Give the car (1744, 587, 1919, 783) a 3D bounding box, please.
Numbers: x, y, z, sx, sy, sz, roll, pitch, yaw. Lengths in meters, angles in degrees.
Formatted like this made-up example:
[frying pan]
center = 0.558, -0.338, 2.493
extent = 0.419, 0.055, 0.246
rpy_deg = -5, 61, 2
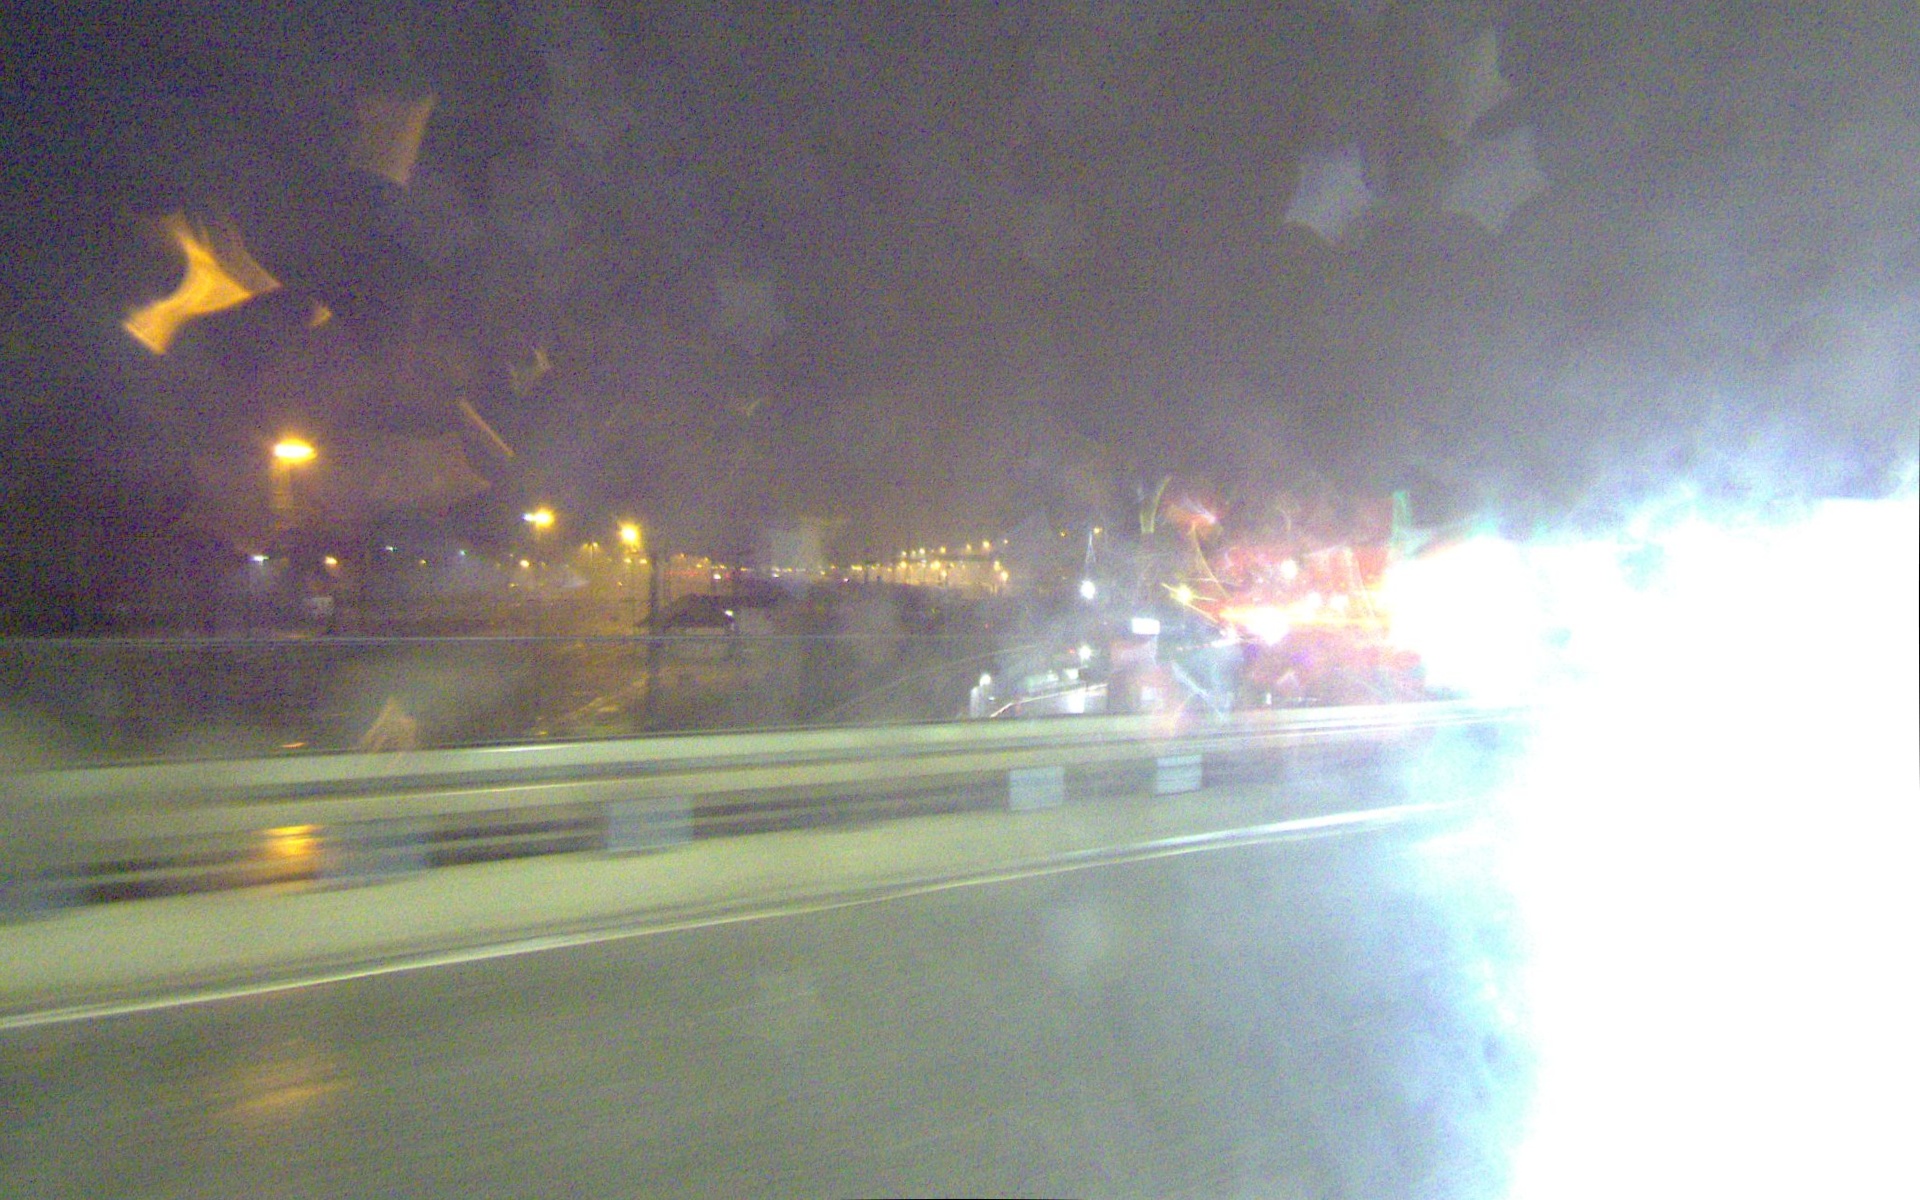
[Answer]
[car]
center = 9.591, 0.696, 9.675
extent = 4.685, 1.588, 1.886
rpy_deg = 0, 0, -34
